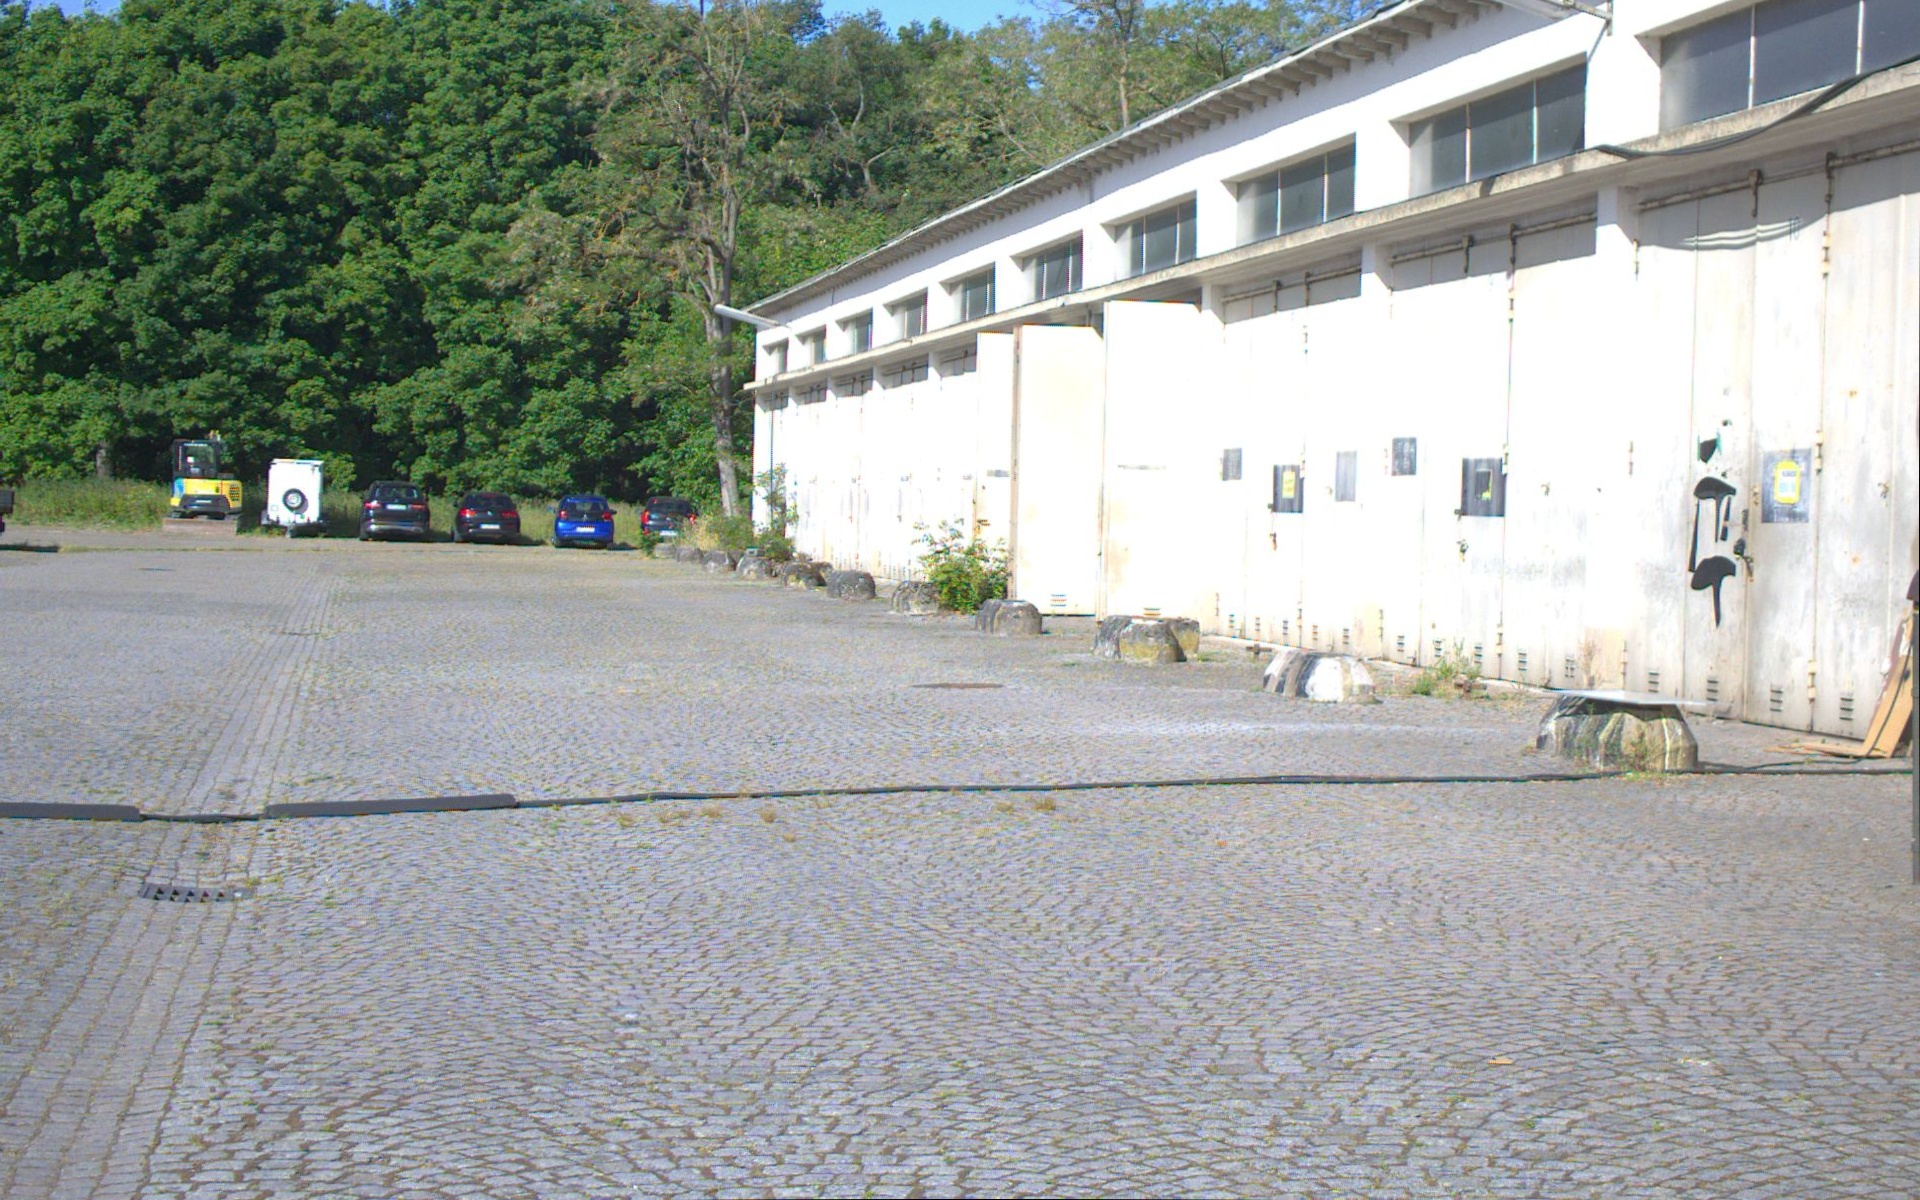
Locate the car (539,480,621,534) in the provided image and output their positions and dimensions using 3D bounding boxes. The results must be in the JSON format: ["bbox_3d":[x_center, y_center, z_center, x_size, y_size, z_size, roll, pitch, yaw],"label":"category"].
[{"bbox_3d":[-10.485,-2.595,95.159,1.993,1.415,4.001,1,2,-3],"label":"car"}]

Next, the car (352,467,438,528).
[{"bbox_3d":[-15.407,-2.802,93.923,1.861,1.580,4.001,1,2,-3],"label":"car"}]

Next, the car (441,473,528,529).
[{"bbox_3d":[-13.078,-2.737,94.713,1.993,1.457,4.001,1,2,-3],"label":"car"}]

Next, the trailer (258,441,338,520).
[{"bbox_3d":[-18.343,-3.306,95.322,1.793,2.083,3.972,1,2,-6],"label":"trailer"}]

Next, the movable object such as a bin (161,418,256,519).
[{"bbox_3d":[-20.788,-3.635,95.179,1.993,2.609,4.001,3,1,-6],"label":"movable object such as a bin"}]

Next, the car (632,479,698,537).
[{"bbox_3d":[-8.282,-2.609,96.784,1.685,1.558,4.001,1,2,-3],"label":"car"}]

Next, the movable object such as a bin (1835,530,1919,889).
[{"bbox_3d":[3.983,0.419,12.844,0.823,1.327,1.281,1,2,-15],"label":"movable object such as a bin"}]

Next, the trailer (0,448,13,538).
[{"bbox_3d":[-22.337,-2.419,75.370,2.406,2.006,4.174,3,1,-8],"label":"trailer"}]
